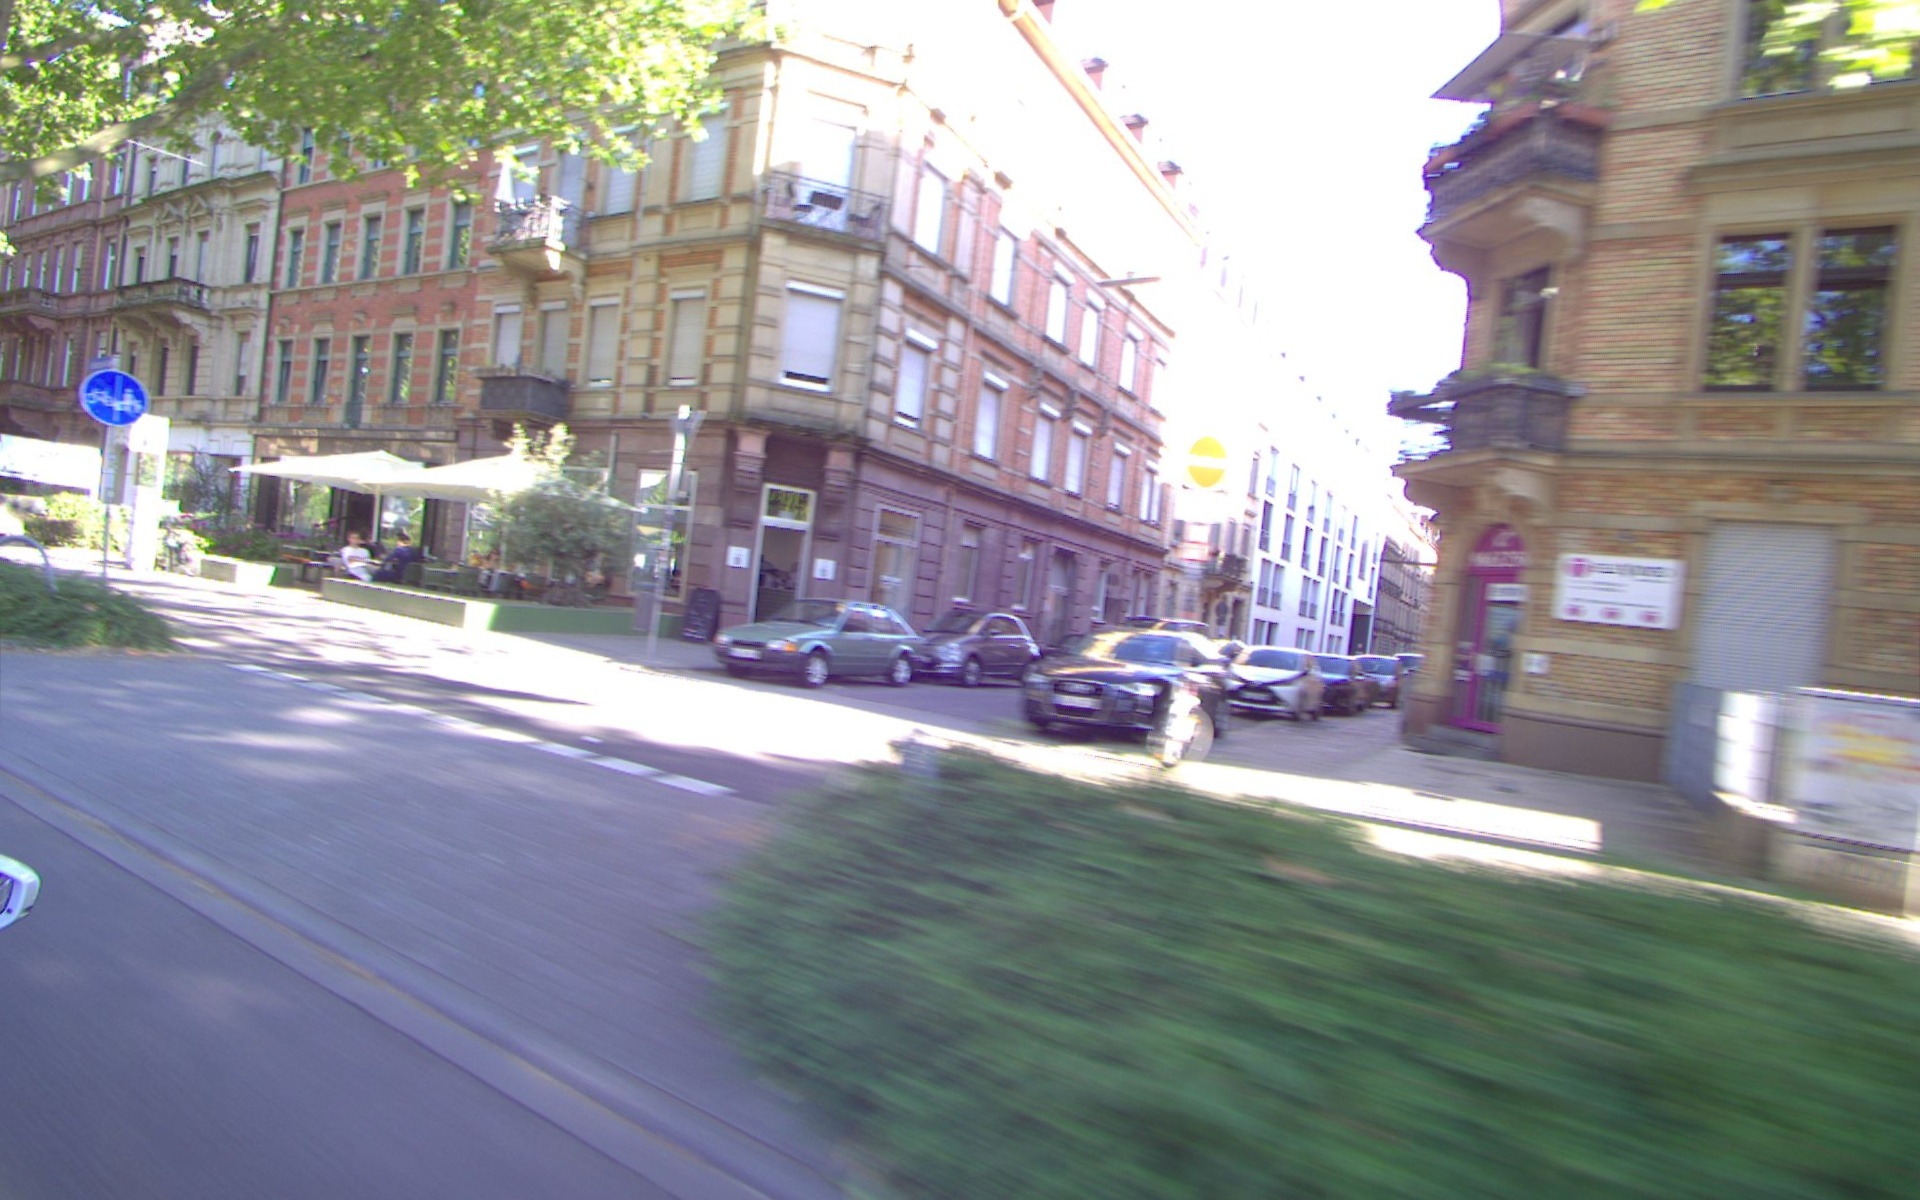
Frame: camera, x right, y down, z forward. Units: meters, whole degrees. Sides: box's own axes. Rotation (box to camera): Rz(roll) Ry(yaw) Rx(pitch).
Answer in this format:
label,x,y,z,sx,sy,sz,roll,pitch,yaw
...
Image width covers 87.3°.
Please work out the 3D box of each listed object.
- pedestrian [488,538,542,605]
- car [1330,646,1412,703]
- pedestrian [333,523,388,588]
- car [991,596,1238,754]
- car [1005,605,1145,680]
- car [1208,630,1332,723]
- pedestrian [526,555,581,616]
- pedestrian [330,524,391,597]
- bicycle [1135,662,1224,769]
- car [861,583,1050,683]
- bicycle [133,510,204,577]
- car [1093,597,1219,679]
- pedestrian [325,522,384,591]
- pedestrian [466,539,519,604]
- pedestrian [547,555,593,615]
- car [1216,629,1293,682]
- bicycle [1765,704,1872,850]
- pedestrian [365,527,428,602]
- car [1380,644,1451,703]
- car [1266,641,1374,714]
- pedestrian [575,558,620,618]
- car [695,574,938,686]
label,x,y,z,sx,sy,sz,roll,pitch,yaw
pedestrian,-9.567,-0.605,21.626,0.651,1.316,0.713,7,1,31
car,13.147,2.372,32.021,1.713,1.513,3.992,7,0,31
pedestrian,-13.076,-0.966,21.953,0.652,1.316,0.713,7,1,32
car,2.300,0.982,13.681,1.888,1.567,4.613,7,-1,26
car,2.887,1.074,24.645,1.894,1.504,3.650,7,0,32
car,6.660,1.583,21.347,1.713,1.567,4.127,7,0,27
pedestrian,-8.538,-0.299,21.137,0.651,1.186,0.713,7,1,31
pedestrian,-11.806,-0.778,19.812,0.651,1.316,0.713,7,1,31
bicycle,2.327,1.162,10.525,0.591,0.928,1.696,7,0,20
car,0.016,0.715,20.431,1.862,1.668,3.898,7,0,33
bicycle,-15.882,-1.140,20.168,1.864,1.159,0.475,7,3,31
car,5.854,1.174,29.586,1.967,2.039,4.610,7,0,32
pedestrian,-12.469,-0.888,20.724,0.652,1.316,0.713,7,1,31
pedestrian,-10.264,-0.624,22.107,0.703,1.316,0.661,7,1,31
pedestrian,-7.751,-0.296,19.990,0.517,1.116,0.557,7,1,31
car,11.792,2.238,40.112,1.833,1.779,3.991,7,0,32
bicycle,8.135,1.622,9.588,0.469,1.168,1.863,7,0,35
pedestrian,-10.729,-0.663,19.153,0.651,1.316,0.713,7,1,31
car,18.689,3.013,41.150,1.967,2.038,3.991,7,0,32
car,9.195,1.954,25.484,1.713,1.513,3.992,7,0,31
pedestrian,-7.414,-0.239,20.573,0.517,1.152,0.557,7,1,31
car,-2.149,0.525,16.202,1.713,1.382,3.994,9,1,28
